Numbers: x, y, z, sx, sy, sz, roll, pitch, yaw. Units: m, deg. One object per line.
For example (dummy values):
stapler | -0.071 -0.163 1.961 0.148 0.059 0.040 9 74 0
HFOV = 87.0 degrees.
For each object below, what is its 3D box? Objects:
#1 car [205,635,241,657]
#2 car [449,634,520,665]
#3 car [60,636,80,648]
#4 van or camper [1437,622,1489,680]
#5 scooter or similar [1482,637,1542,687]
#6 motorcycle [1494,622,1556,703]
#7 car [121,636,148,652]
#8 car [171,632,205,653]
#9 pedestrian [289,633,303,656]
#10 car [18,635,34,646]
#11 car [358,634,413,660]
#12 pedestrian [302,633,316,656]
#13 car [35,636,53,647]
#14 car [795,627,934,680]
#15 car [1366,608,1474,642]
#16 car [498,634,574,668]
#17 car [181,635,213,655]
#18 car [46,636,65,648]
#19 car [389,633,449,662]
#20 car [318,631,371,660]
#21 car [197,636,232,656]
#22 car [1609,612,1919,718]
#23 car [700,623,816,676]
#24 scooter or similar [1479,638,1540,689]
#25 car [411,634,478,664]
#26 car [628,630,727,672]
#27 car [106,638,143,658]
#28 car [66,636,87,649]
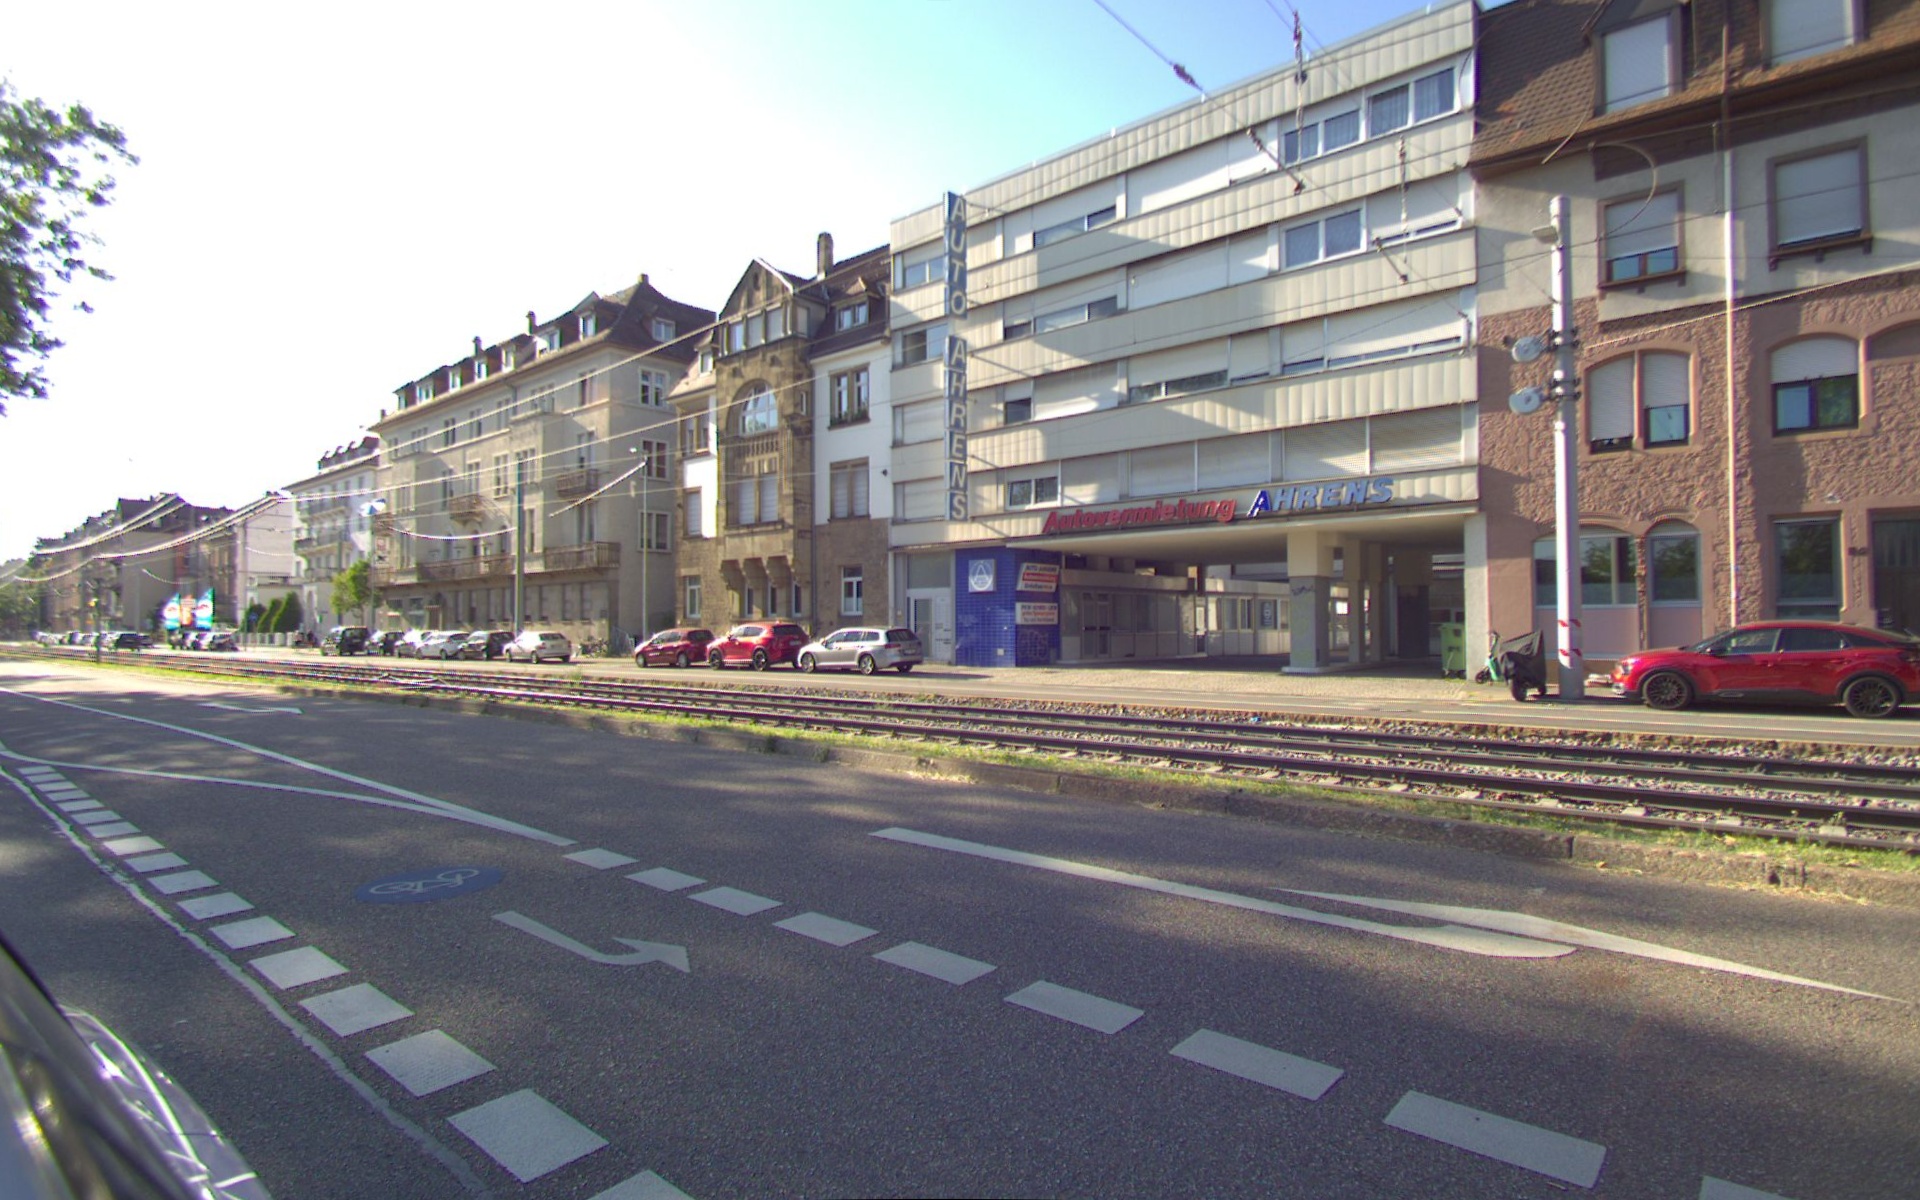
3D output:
car | -59.256 3.661 81.326 3.407 1.644 1.655 -2 -1 42
car | -23.842 2.457 50.746 3.820 1.441 1.779 -2 -1 40
car | -118.873 5.579 135.187 3.449 1.602 1.603 -2 -1 42
van or camper | 12.344 1.240 24.823 0.803 1.368 1.409 -2 -3 41
scooter or similar | 12.252 1.377 22.483 1.121 1.077 0.202 -2 -1 42
motorcycle | 10.962 1.187 19.612 0.628 1.433 1.835 -3 -1 41
car | -86.080 4.547 105.501 3.449 1.602 1.603 -2 -1 42
car | -70.672 3.865 92.639 3.879 1.800 1.705 -2 -1 42
pedestrian | -51.460 3.461 78.398 0.677 1.803 0.716 -2 -3 41
car | -152.487 6.618 165.260 3.449 1.602 1.603 -2 -1 42
car | -34.650 2.829 61.034 3.822 1.490 1.778 -2 -1 42
pedestrian | -50.765 3.465 78.927 0.677 1.803 0.716 -2 -3 41
car | -132.914 6.003 146.876 3.449 1.602 1.603 -2 -1 42
car | -3.085 1.658 32.175 4.379 1.510 1.837 -2 -1 41
car | 32.818 1.826 72.355 6.596 2.275 2.330 -2 -3 41
car | -19.766 2.351 47.131 3.822 1.490 1.778 -2 -1 42
car | -66.896 3.931 88.714 3.387 1.583 1.662 -2 -1 42
car | -124.999 5.759 139.852 3.449 1.602 1.603 -2 -1 42
car | -30.431 2.653 56.846 3.822 1.490 1.778 -2 -1 42
car | -39.101 2.880 64.262 3.914 1.750 1.851 -2 -1 42
car | -62.835 3.832 85.284 3.387 1.583 1.662 -2 -1 42
car | 13.613 1.046 17.099 4.208 1.510 1.837 -2 0 41
car | -7.173 1.705 35.747 4.262 1.700 1.836 -2 -1 42
scooter or similar | 12.089 1.391 22.285 1.121 1.077 0.202 -2 -1 42
car | -27.085 2.569 53.164 3.531 1.457 1.624 -2 -1 34
car | -10.973 1.954 39.198 3.722 1.507 1.736 -2 -1 36
car | -70.509 4.027 85.386 3.999 1.697 1.798 -2 -3 42
car | -115.239 5.477 132.004 3.449 1.602 1.603 -2 -1 42
